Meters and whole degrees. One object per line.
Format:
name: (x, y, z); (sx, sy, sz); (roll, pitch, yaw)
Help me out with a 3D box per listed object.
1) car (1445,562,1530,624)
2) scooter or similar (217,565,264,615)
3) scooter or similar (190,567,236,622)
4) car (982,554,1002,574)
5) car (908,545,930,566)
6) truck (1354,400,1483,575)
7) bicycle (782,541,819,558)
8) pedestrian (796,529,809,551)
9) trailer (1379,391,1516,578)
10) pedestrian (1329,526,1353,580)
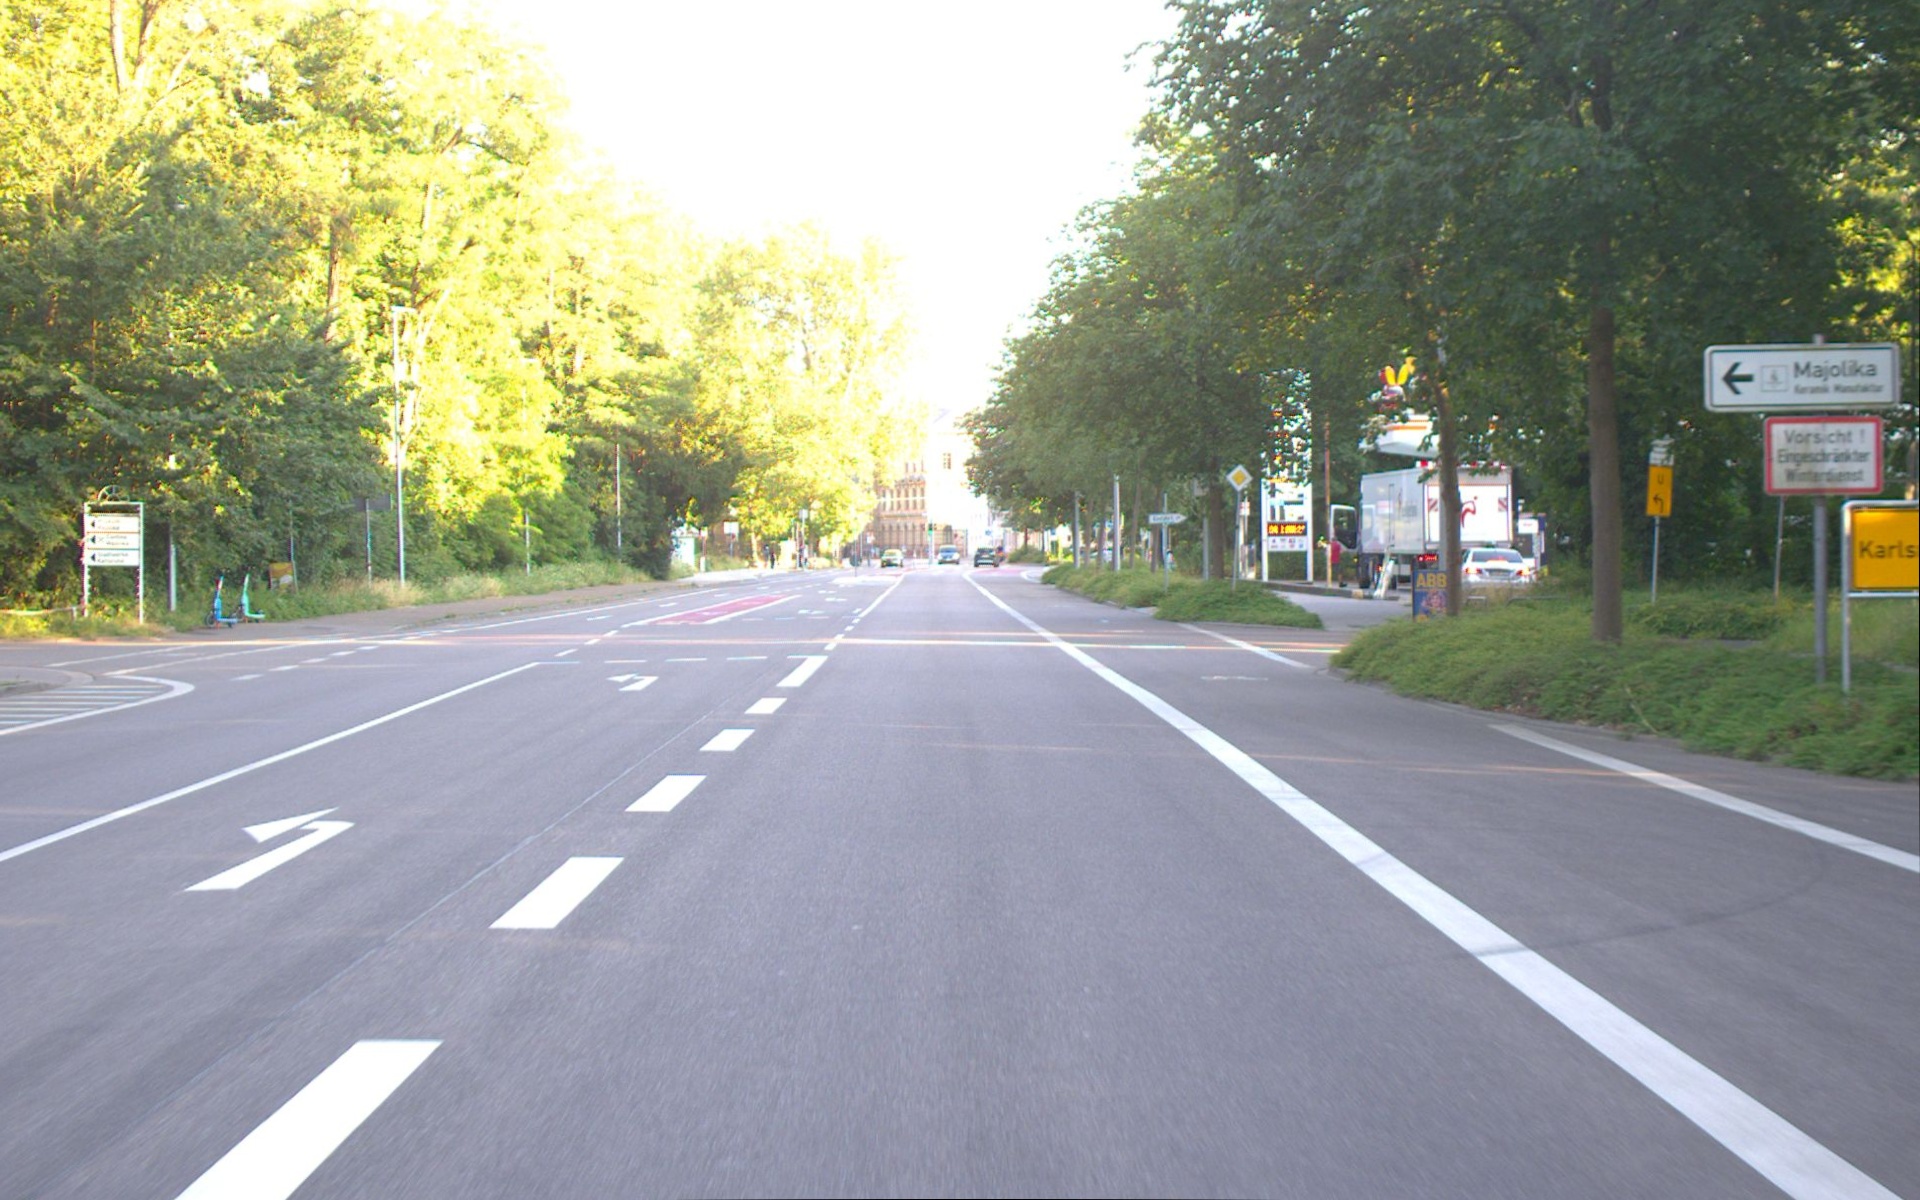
car: (14.097, -0.205, 92.045); (1.770, 1.578, 4.818); (1, 1, 3)
scooter or similar: (-15.389, -0.211, 73.528); (0.897, 1.065, 0.496); (-1, 1, -25)
scooter or similar: (-15.253, -0.121, 70.212); (0.361, 1.106, 0.877); (0, 1, 42)
car: (2.418, -2.678, 258.428); (1.493, 1.481, 3.491); (0, 1, 1)
car: (-2.901, -3.152, 242.517); (1.493, 1.481, 3.491); (-1, 1, 1)
truck: (14.773, -3.605, 111.360); (3.033, 5.437, 8.410); (0, 1, 0)
bicycle: (-11.261, -3.565, 242.936); (2.463, 1.191, 0.757); (0, 0, 10)
pedestrian: (-11.130, -4.243, 242.856); (0.791, 1.575, 0.745); (1, 1, 9)
trailer: (14.770, -3.459, 104.658); (3.020, 5.443, 7.935); (0, 1, 0)
pedestrian: (12.786, -1.577, 115.381); (0.757, 1.791, 0.706); (1, 1, 3)
